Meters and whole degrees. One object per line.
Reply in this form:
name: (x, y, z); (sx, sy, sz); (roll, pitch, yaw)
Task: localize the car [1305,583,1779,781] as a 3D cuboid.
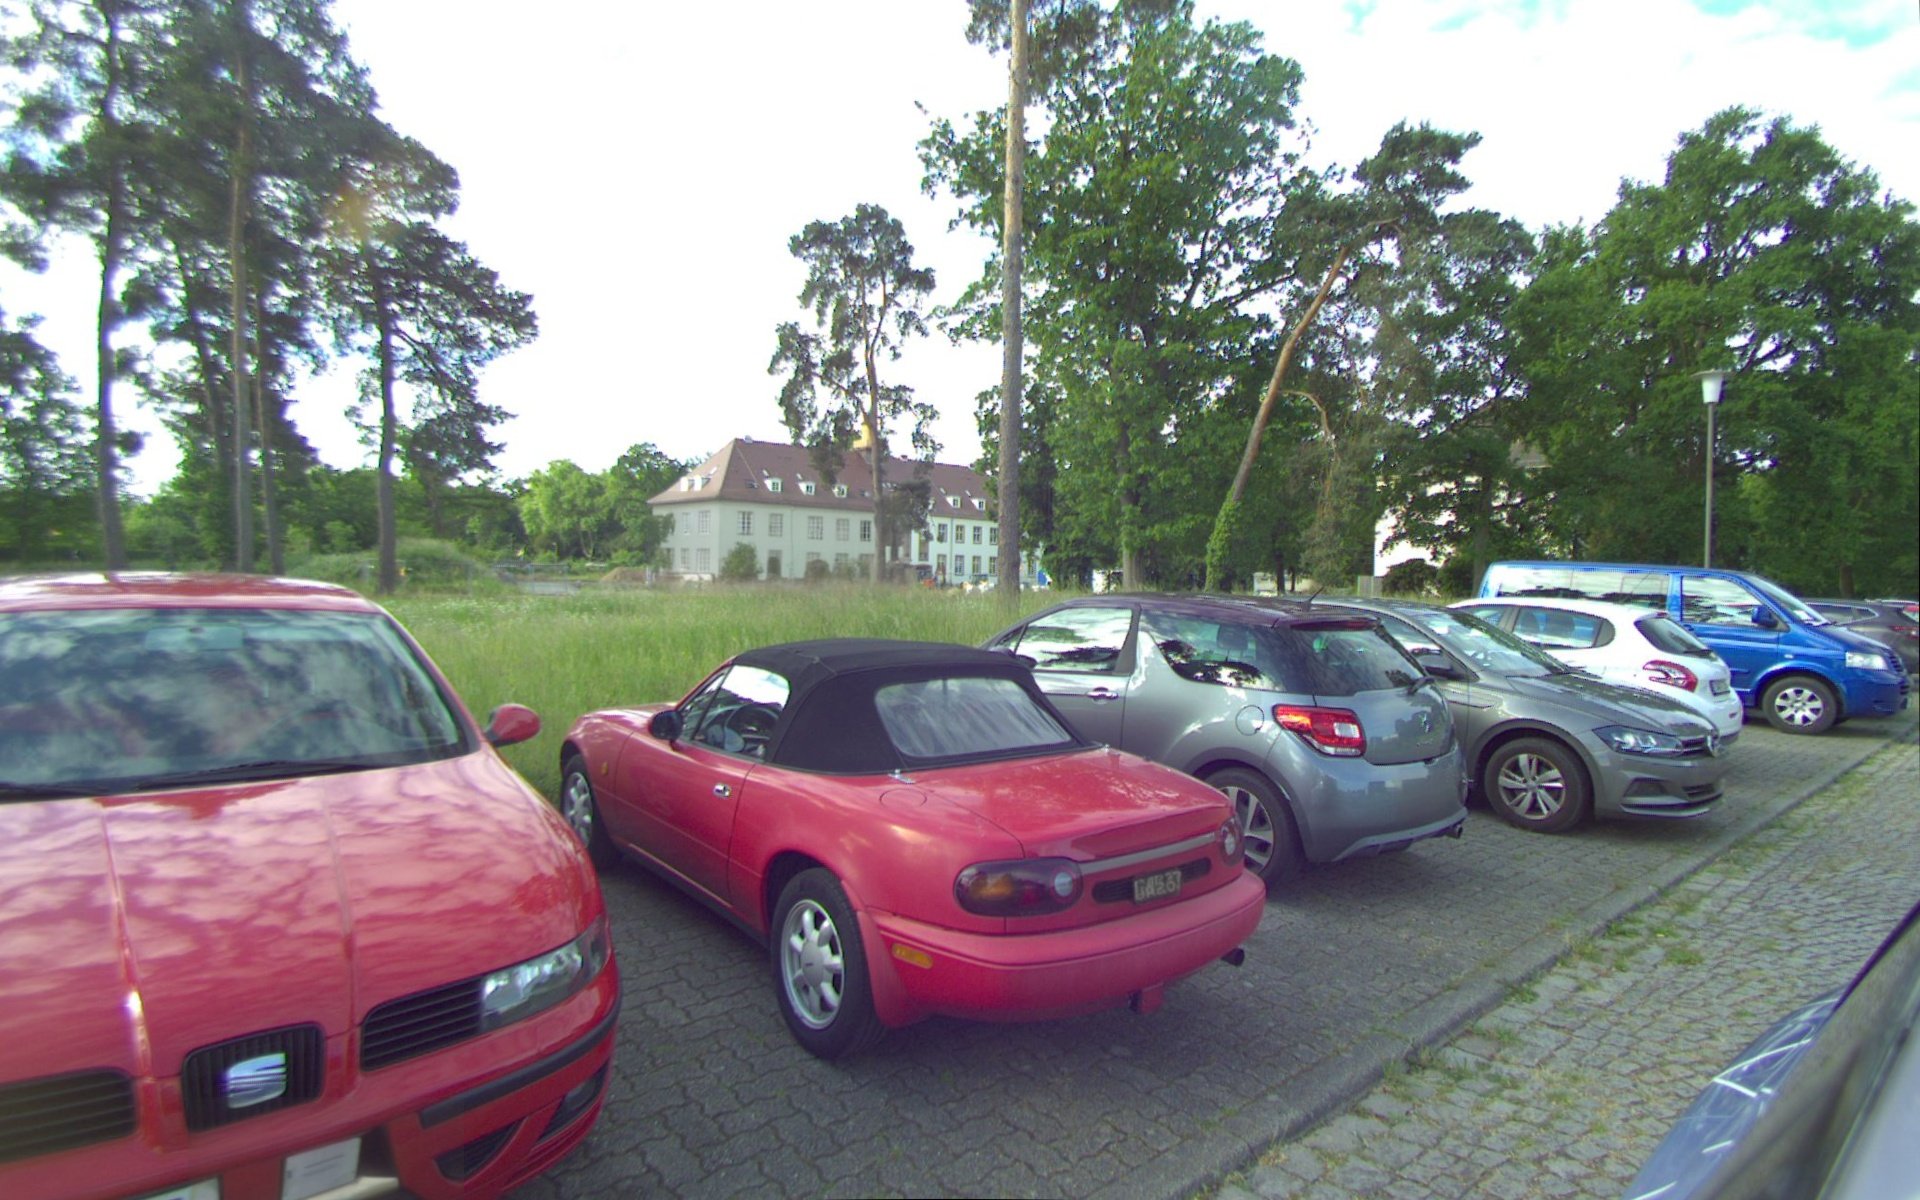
car: (5.543, 0.633, 10.041); (1.552, 1.517, 3.762); (0, 1, -38)

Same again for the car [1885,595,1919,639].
car: (35.125, 0.645, 35.396); (1.642, 1.548, 3.841); (0, 1, -36)

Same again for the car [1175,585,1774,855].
car: (3.677, 0.669, 7.808); (1.613, 1.484, 3.782); (0, 1, -38)

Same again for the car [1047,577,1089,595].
car: (10.516, -1.369, 98.620); (3.864, 1.704, 1.848); (0, 3, -38)

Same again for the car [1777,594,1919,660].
car: (23.558, 0.667, 26.000); (1.555, 1.544, 3.832); (0, 1, -44)

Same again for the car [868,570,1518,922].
car: (1.174, 0.601, 6.428); (1.576, 1.522, 3.836); (0, 1, -40)

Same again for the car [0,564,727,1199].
car: (-2.472, 0.622, 3.276); (1.689, 1.441, 4.117); (0, 1, -39)

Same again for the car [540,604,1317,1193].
car: (-0.489, 0.746, 4.385); (1.579, 1.302, 3.556); (-1, 2, -38)

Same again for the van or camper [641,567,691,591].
van or camper: (-28.965, -2.073, 99.648); (6.063, 2.251, 1.969); (2, 1, 43)

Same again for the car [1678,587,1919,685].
car: (16.032, 0.609, 19.094); (1.555, 1.621, 3.832); (1, 1, -44)

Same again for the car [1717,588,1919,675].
car: (18.145, 0.606, 21.042); (1.555, 1.621, 3.627); (1, 1, -44)

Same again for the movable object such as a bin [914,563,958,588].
movable object such as a bin: (-2.717, -2.855, 116.706); (1.994, 2.802, 5.121); (2, 1, 44)

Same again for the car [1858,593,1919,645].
car: (31.508, 0.631, 32.430); (1.551, 1.638, 3.841); (1, 1, -36)

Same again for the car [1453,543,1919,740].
car: (9.608, 0.344, 13.544); (2.023, 2.047, 4.955); (0, 3, -39)
